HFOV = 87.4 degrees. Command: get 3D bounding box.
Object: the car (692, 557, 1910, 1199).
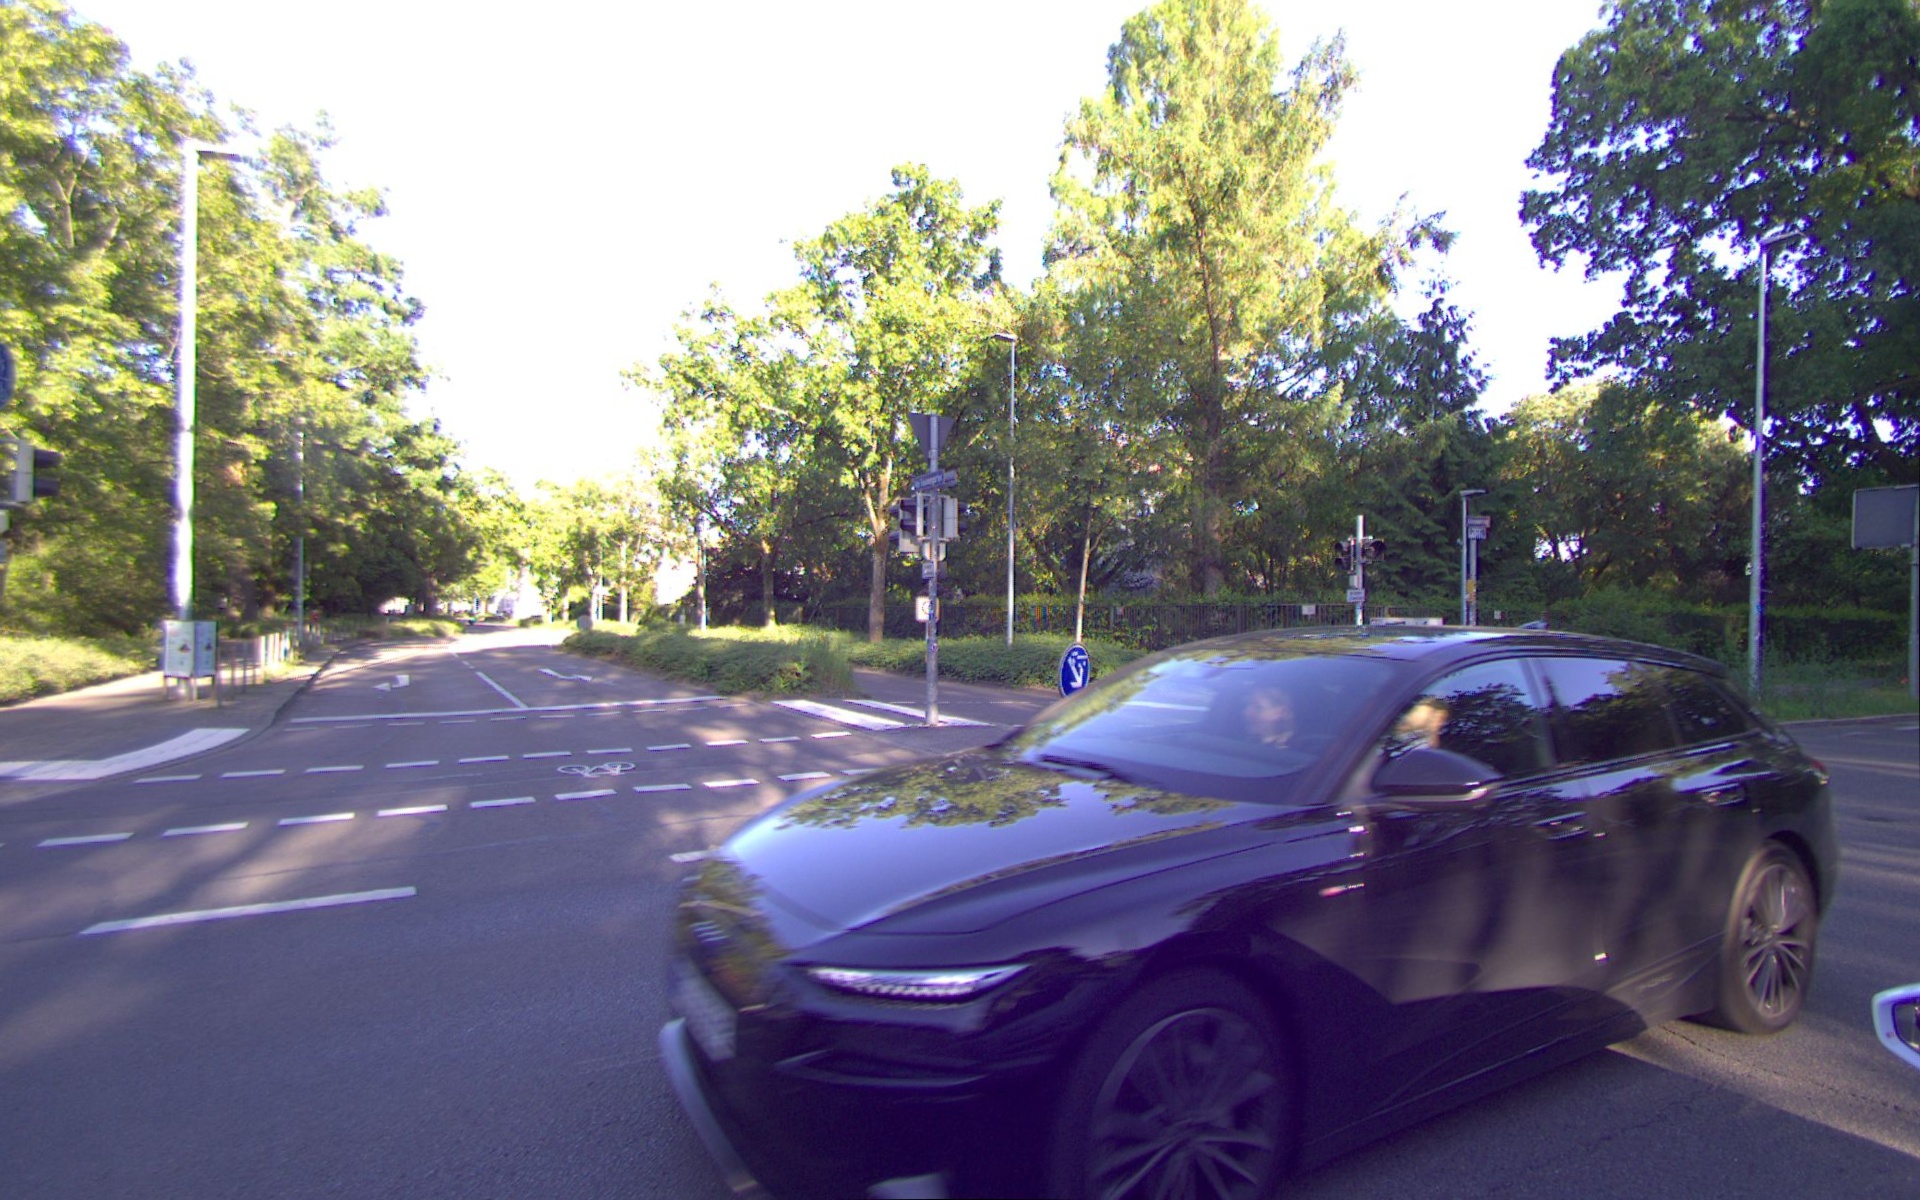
[{"bbox_3d":[1.519,0.767,3.888,4.593,1.526,1.952,2,-2,-30],"label":"car"}]
